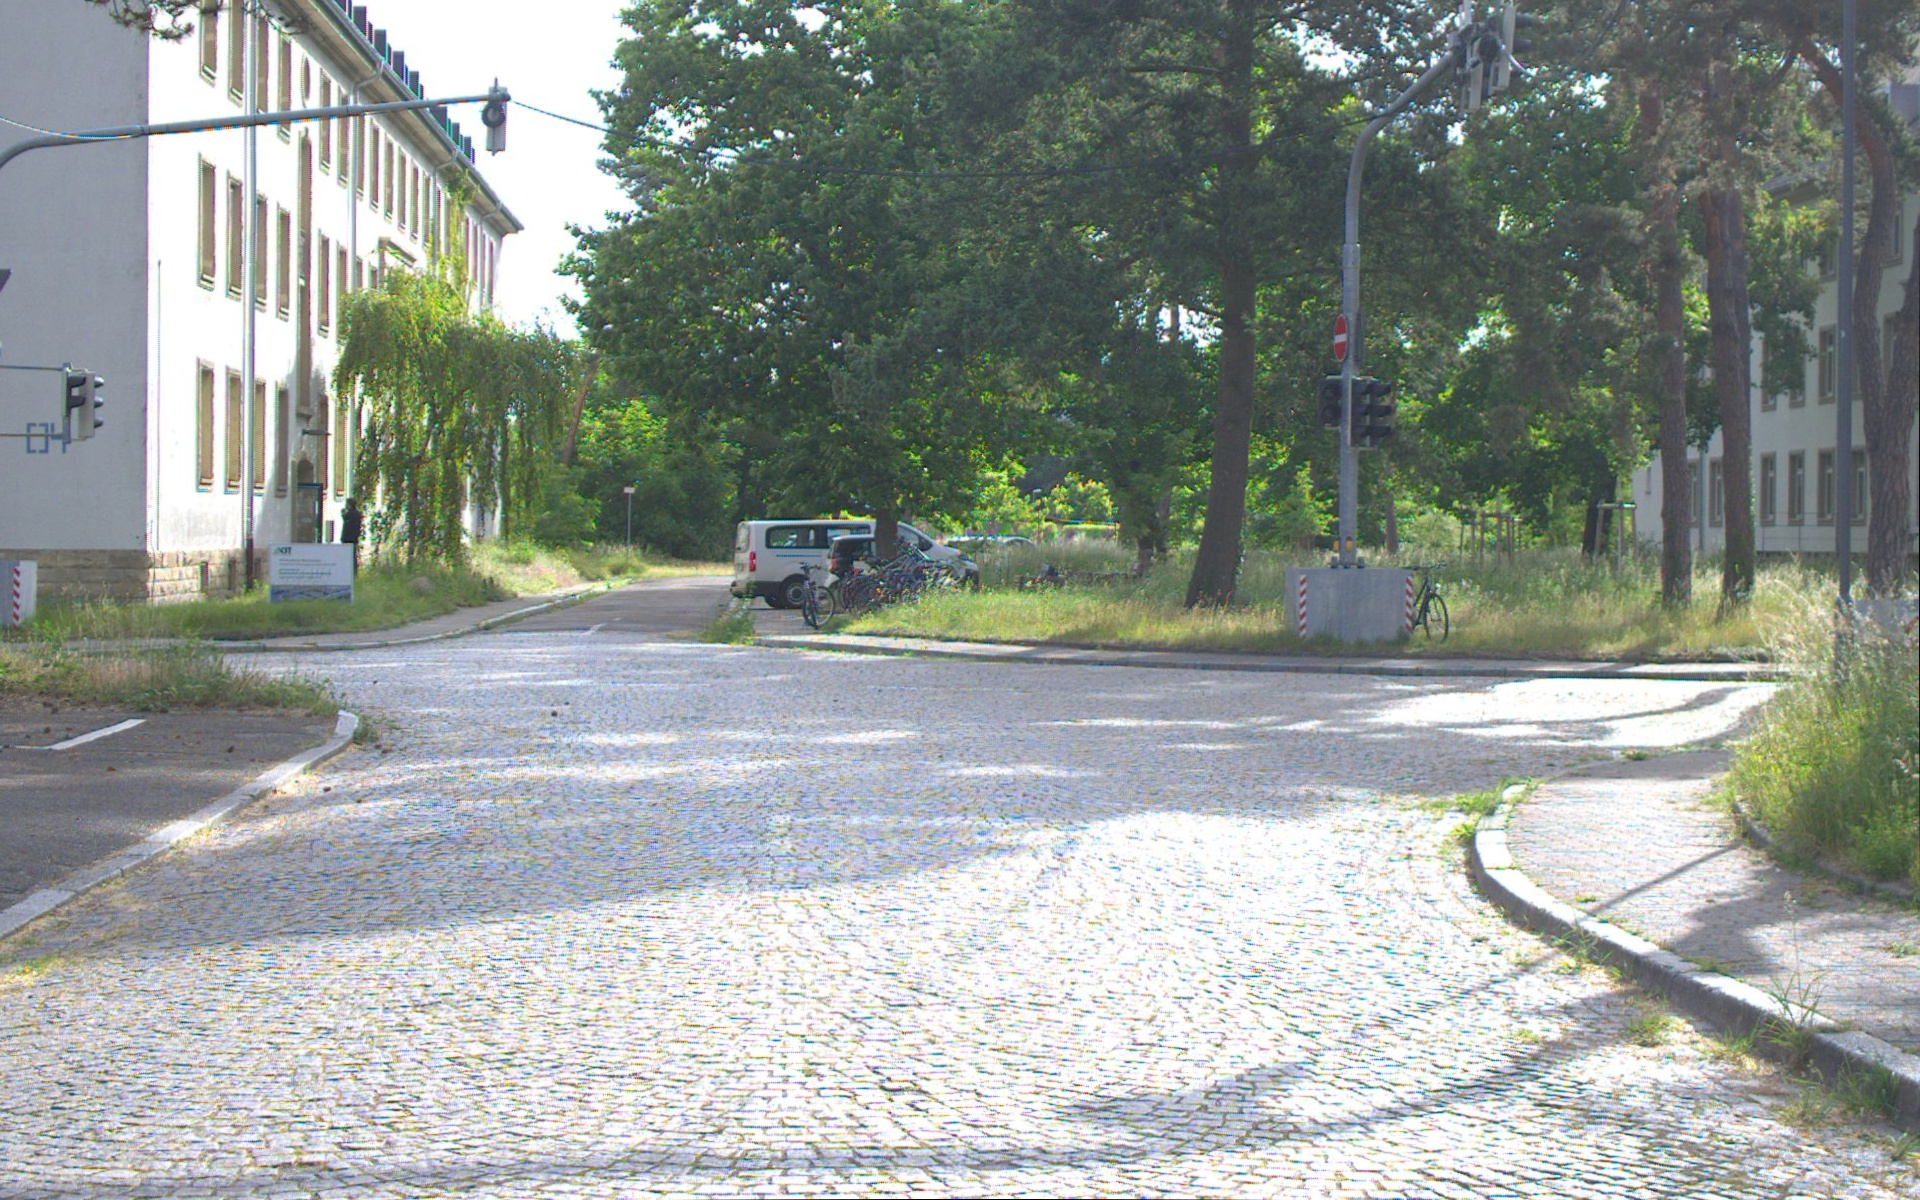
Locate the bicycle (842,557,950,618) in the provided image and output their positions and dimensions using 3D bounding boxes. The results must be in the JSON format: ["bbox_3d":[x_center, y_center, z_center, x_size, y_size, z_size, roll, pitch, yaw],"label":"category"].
[{"bbox_3d":[-1.081,-0.213,57.957,1.792,0.995,0.644,0,2,-4],"label":"bicycle"}]

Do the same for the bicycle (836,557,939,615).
[{"bbox_3d":[-1.291,-0.251,61.211,1.792,0.995,0.644,0,2,-4],"label":"bicycle"}]

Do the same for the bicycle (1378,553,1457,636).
[{"bbox_3d":[5.863,-0.079,44.093,0.562,0.995,1.752,0,2,-7],"label":"bicycle"}]

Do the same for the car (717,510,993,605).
[{"bbox_3d":[-2.259,-0.903,73.849,5.499,1.909,2.255,1,0,-17],"label":"car"}]

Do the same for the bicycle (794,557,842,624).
[{"bbox_3d":[-2.254,-0.161,54.308,0.728,0.995,1.799,0,2,-3],"label":"bicycle"}]

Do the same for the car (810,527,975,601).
[{"bbox_3d":[-1.396,-0.725,70.321,3.031,1.460,1.720,1,0,-15],"label":"car"}]

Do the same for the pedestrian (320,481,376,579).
[{"bbox_3d":[-12.425,-1.406,69.774,0.985,1.956,0.933,1,0,-4],"label":"pedestrian"}]

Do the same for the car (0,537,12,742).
[{"bbox_3d":[-6.300,0.353,13.580,4.586,1.450,1.904,4,2,-5],"label":"car"}]

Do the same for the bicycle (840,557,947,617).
[{"bbox_3d":[-1.139,-0.223,58.976,1.792,0.995,0.644,0,2,-4],"label":"bicycle"}]
